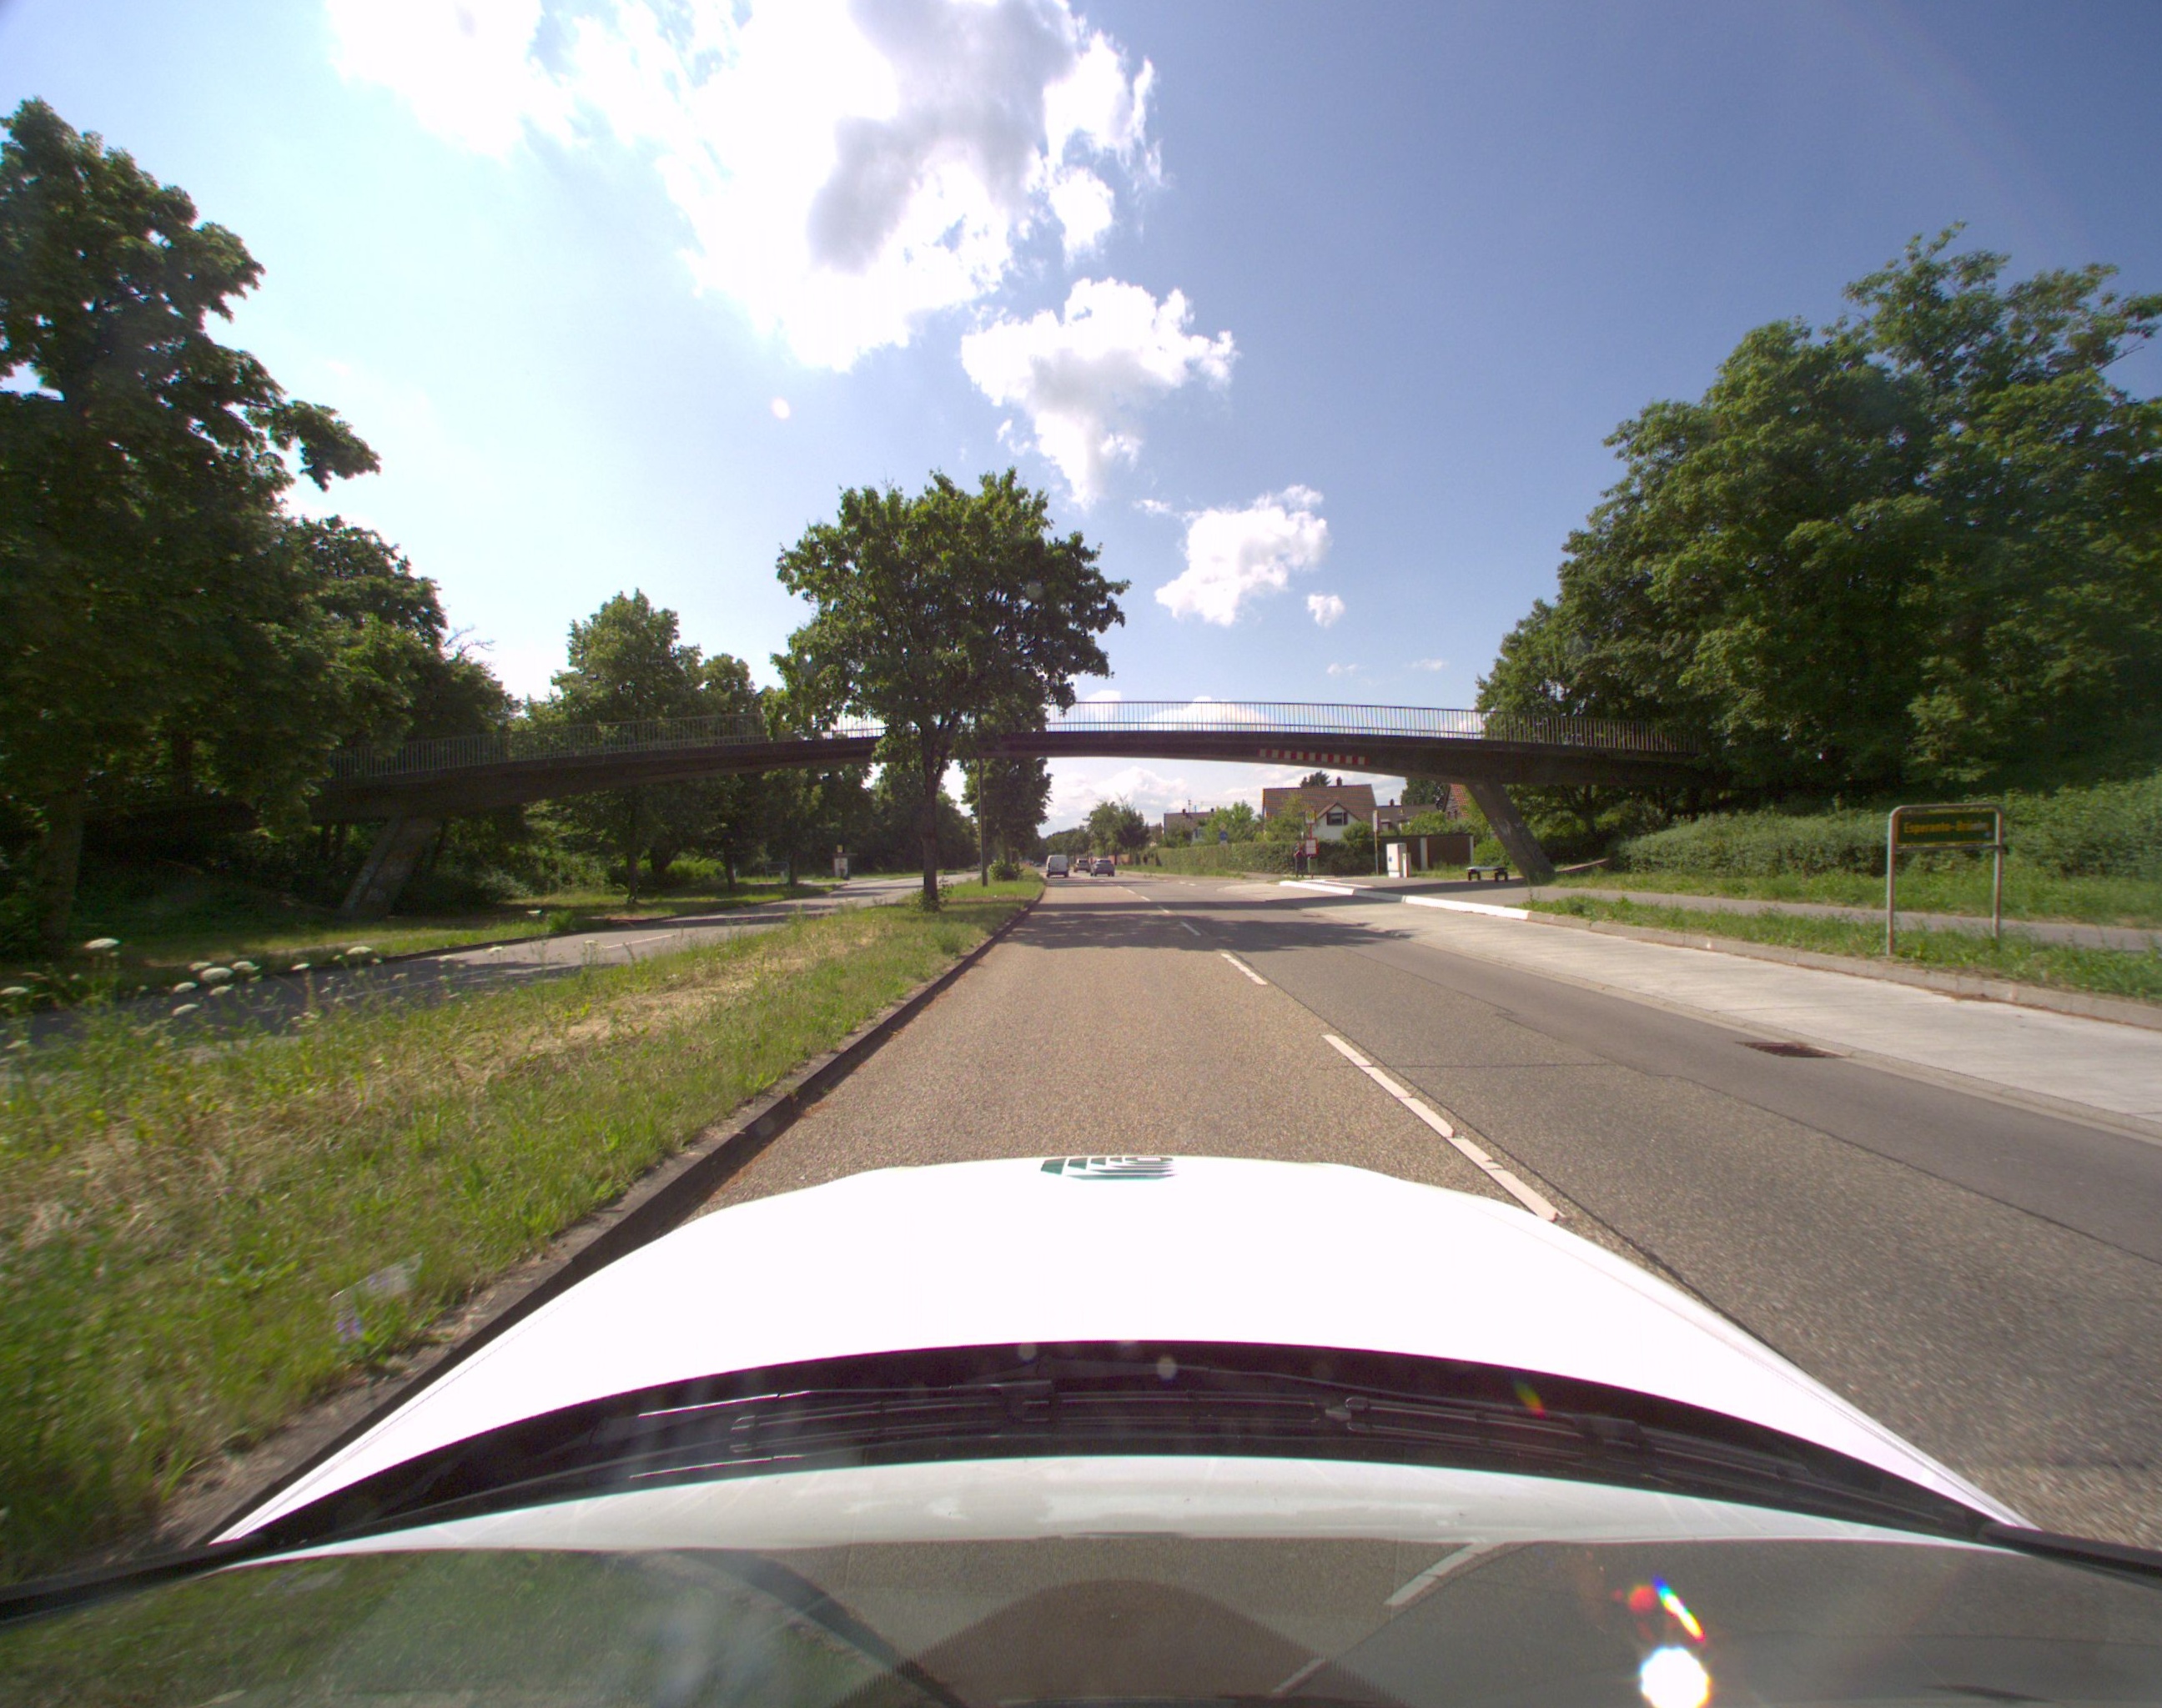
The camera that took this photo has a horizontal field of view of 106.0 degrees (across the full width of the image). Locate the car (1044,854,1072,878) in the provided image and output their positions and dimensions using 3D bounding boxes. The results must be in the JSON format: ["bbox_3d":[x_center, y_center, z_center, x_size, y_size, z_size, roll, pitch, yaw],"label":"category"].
[{"bbox_3d":[-1.977,0.971,68.763,2.062,1.912,4.639,-1,-1,-4],"label":"car"}]

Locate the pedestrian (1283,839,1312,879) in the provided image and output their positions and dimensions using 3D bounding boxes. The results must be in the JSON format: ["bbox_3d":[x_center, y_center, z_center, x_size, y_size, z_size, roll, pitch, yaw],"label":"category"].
[{"bbox_3d":[10.327,0.251,38.797,0.952,1.824,1.087,-3,-3,-2],"label":"pedestrian"}]

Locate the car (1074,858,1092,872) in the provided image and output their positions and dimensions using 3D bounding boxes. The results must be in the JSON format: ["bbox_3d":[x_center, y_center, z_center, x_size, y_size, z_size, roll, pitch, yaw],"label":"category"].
[{"bbox_3d":[0.252,1.338,98.392,1.871,1.652,3.994,-2,-1,-4],"label":"car"}]

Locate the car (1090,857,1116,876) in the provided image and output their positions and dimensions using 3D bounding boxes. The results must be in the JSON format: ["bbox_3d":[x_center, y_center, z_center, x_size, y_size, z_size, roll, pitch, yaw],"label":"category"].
[{"bbox_3d":[1.857,1.092,70.741,1.871,1.589,4.178,-2,-1,-4],"label":"car"}]

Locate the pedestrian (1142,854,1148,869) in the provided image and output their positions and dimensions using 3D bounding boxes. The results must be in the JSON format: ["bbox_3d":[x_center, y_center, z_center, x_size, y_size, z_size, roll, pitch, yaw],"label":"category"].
[{"bbox_3d":[7.355,0.834,94.026,0.559,1.677,0.633,-1,-1,-5],"label":"pedestrian"}]

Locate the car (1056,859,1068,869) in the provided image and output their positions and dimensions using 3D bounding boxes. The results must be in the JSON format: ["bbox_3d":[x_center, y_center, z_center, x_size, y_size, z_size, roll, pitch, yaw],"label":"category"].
[{"bbox_3d":[-3.216,1.709,136.853,1.877,1.587,3.994,-1,-1,-4],"label":"car"}]
